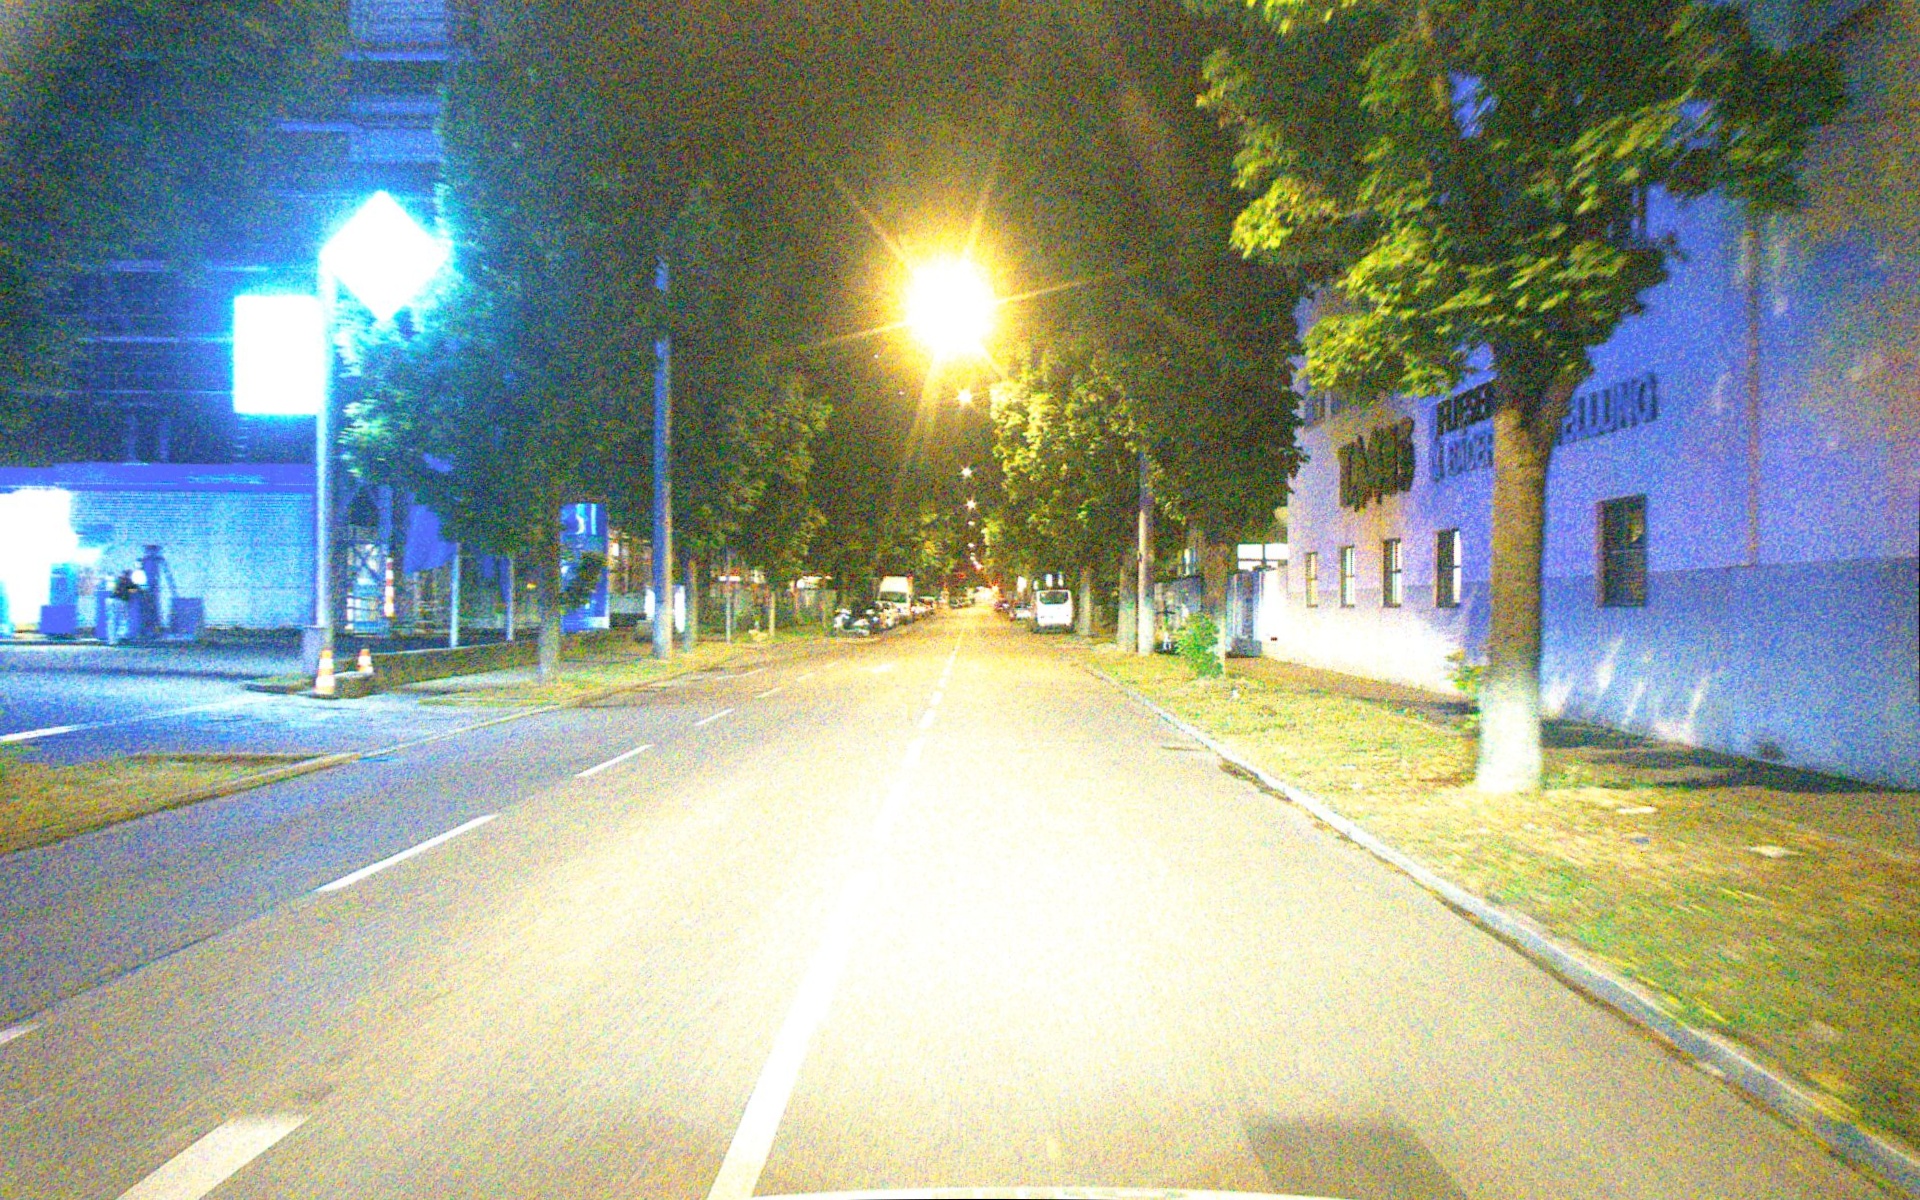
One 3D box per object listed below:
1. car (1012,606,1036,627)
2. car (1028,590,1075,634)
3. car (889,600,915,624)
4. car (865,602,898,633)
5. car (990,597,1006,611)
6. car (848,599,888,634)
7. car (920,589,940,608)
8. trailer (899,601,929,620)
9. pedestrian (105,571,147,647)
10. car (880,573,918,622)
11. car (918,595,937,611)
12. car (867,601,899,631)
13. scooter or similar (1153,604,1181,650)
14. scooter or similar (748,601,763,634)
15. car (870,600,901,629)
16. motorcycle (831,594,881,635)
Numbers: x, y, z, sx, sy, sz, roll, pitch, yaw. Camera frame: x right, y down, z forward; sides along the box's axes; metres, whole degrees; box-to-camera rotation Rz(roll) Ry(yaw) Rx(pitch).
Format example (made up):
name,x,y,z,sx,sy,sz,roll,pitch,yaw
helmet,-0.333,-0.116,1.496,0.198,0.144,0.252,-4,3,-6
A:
name,x,y,z,sx,sy,sz,roll,pitch,yaw
car,4.696,1.190,120.969,1.633,1.454,4.149,-1,0,3
car,4.325,0.548,78.762,1.911,1.998,4.602,1,0,-1
car,-4.046,0.822,115.830,1.706,1.634,4.297,1,0,-1
car,-3.910,0.868,83.216,1.415,1.454,3.903,3,0,0
car,4.371,0.462,191.743,1.815,1.683,4.209,1,0,1
car,-4.270,0.755,76.999,1.609,1.530,3.903,3,0,0
car,-3.122,-0.143,174.797,1.785,1.843,4.211,4,0,2
trailer,-3.710,0.867,134.346,2.067,1.358,5.436,3,0,2
pedestrian,-18.094,0.194,35.896,0.564,1.634,0.643,1,-1,-1
car,-3.835,-0.169,104.932,2.134,2.960,4.909,2,0,0
car,-3.321,0.300,168.437,1.665,1.458,3.829,4,0,2
car,-4.075,0.836,88.052,1.516,1.480,3.368,2,0,0
scooter or similar,5.726,0.739,45.808,0.536,1.224,1.911,2,0,1
scooter or similar,-7.647,0.669,61.945,0.359,1.225,1.427,0,-1,1
car,-4.166,0.804,93.188,1.612,1.531,3.860,2,0,-1
motorcycle,-4.245,0.592,67.570,1.873,1.577,0.636,2,-1,-19
